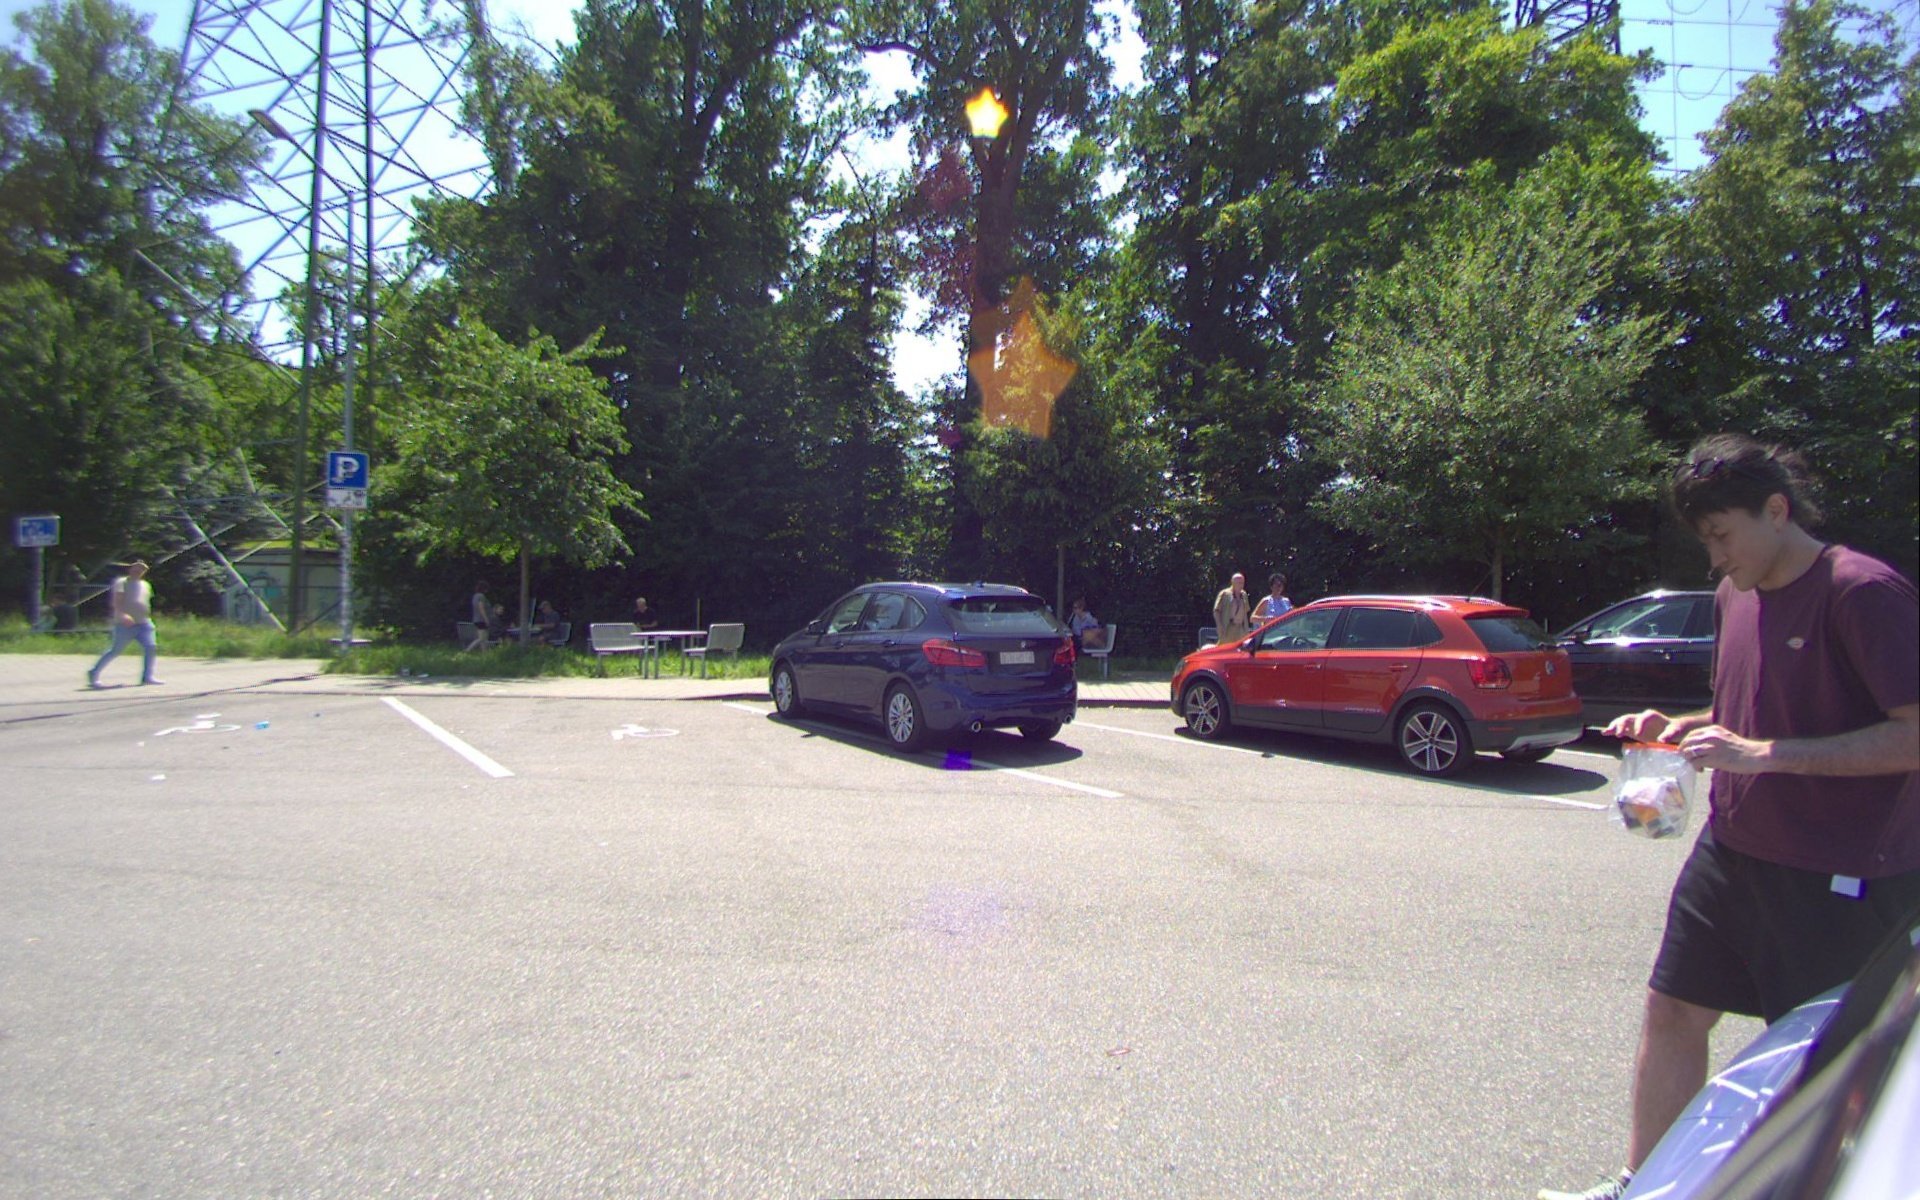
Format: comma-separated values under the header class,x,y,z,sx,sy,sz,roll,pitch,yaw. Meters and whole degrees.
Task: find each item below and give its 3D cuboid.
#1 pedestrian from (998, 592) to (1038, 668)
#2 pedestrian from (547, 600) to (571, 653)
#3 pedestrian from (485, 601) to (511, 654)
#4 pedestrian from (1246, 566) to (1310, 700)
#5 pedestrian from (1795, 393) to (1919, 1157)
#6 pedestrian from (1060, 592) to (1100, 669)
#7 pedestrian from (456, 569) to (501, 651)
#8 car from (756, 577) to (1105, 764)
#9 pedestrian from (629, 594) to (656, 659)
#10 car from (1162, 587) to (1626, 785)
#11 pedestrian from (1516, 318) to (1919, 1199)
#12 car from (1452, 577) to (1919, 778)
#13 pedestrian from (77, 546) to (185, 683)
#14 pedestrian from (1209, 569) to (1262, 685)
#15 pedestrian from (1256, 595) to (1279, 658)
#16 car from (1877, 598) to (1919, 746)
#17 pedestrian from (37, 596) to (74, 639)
class,x,y,z,sx,sy,sz,roll,pitch,yaw
pedestrian,0.984,0.498,17.116,0.586,1.261,0.445,0,0,16
pedestrian,-9.351,0.616,23.601,0.452,1.209,0.447,0,0,-34
pedestrian,-10.440,0.615,22.860,0.452,1.182,0.447,0,0,-34
pedestrian,3.949,0.397,12.598,0.636,1.625,0.571,0,0,6
pedestrian,2.941,0.451,2.615,0.901,1.974,0.815,0,0,-13
pedestrian,1.997,0.495,16.859,0.586,1.261,0.498,0,0,16
pedestrian,-10.033,0.206,21.104,0.700,1.670,0.689,0,0,-13
car,-0.546,0.551,10.791,1.714,1.572,4.347,0,1,-33
pedestrian,-6.693,0.547,21.348,0.438,1.363,0.462,0,0,-5
car,3.875,0.634,9.652,1.619,1.487,3.830,0,0,-33
pedestrian,1.873,0.494,2.137,0.902,1.929,0.815,0,0,-9
car,7.091,0.593,9.869,1.620,1.575,3.826,0,0,-37
pedestrian,-11.977,0.200,14.642,0.904,1.929,0.813,0,0,2
pedestrian,3.964,0.377,14.589,0.636,1.625,0.571,0,0,6
pedestrian,5.813,0.494,19.129,0.350,1.180,0.384,0,0,8
car,10.892,0.703,9.014,1.620,1.420,3.826,0,0,-37
pedestrian,-20.958,0.398,23.458,0.452,0.987,0.447,0,0,-2
